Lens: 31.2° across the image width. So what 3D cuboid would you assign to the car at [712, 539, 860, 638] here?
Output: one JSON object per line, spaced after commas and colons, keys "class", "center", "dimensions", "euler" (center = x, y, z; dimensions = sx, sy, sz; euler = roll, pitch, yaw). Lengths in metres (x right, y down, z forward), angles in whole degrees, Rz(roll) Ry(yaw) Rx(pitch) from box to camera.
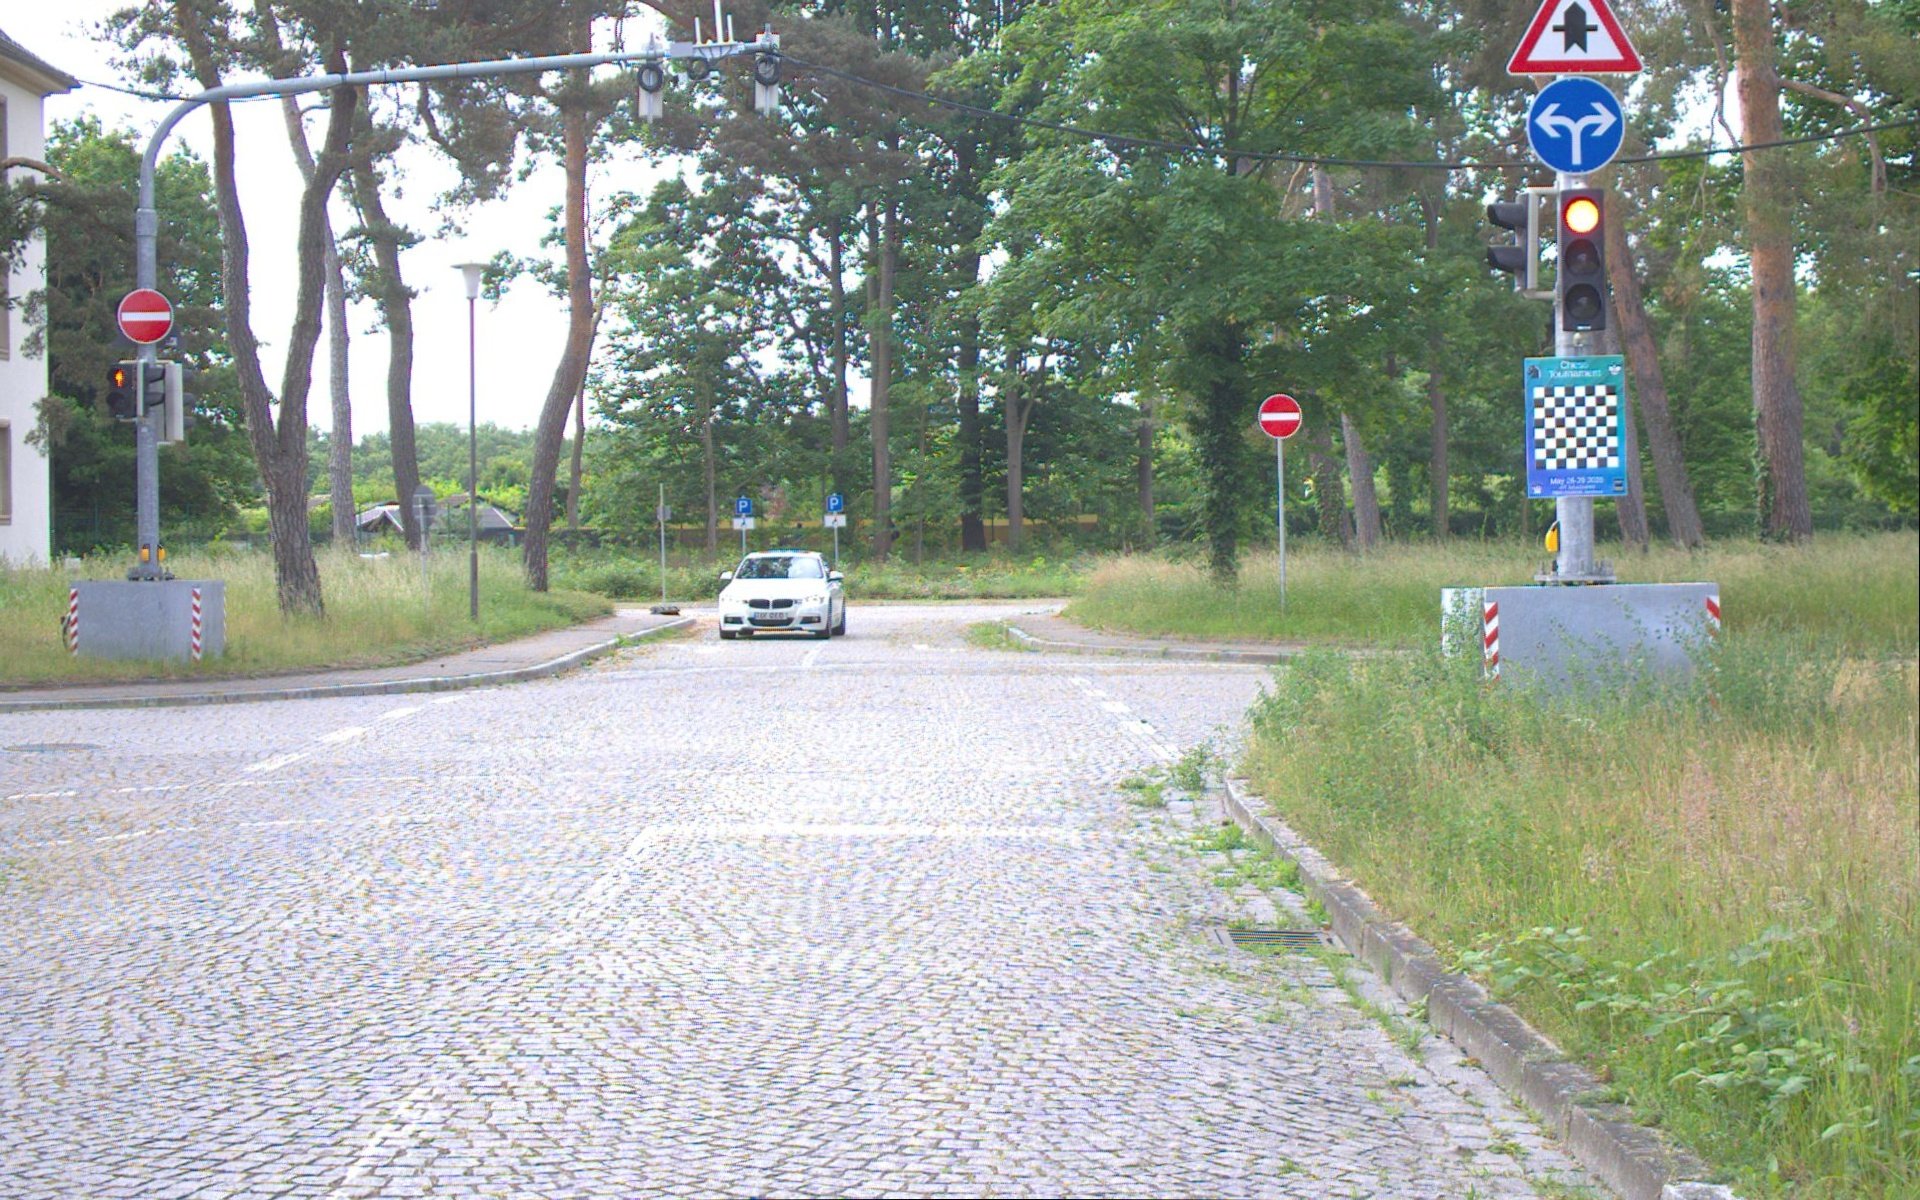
{"class": "car", "center": [-2.809, -0.218, 56.470], "dimensions": [1.774, 1.433, 4.217], "euler": [-3, 1, 5]}
